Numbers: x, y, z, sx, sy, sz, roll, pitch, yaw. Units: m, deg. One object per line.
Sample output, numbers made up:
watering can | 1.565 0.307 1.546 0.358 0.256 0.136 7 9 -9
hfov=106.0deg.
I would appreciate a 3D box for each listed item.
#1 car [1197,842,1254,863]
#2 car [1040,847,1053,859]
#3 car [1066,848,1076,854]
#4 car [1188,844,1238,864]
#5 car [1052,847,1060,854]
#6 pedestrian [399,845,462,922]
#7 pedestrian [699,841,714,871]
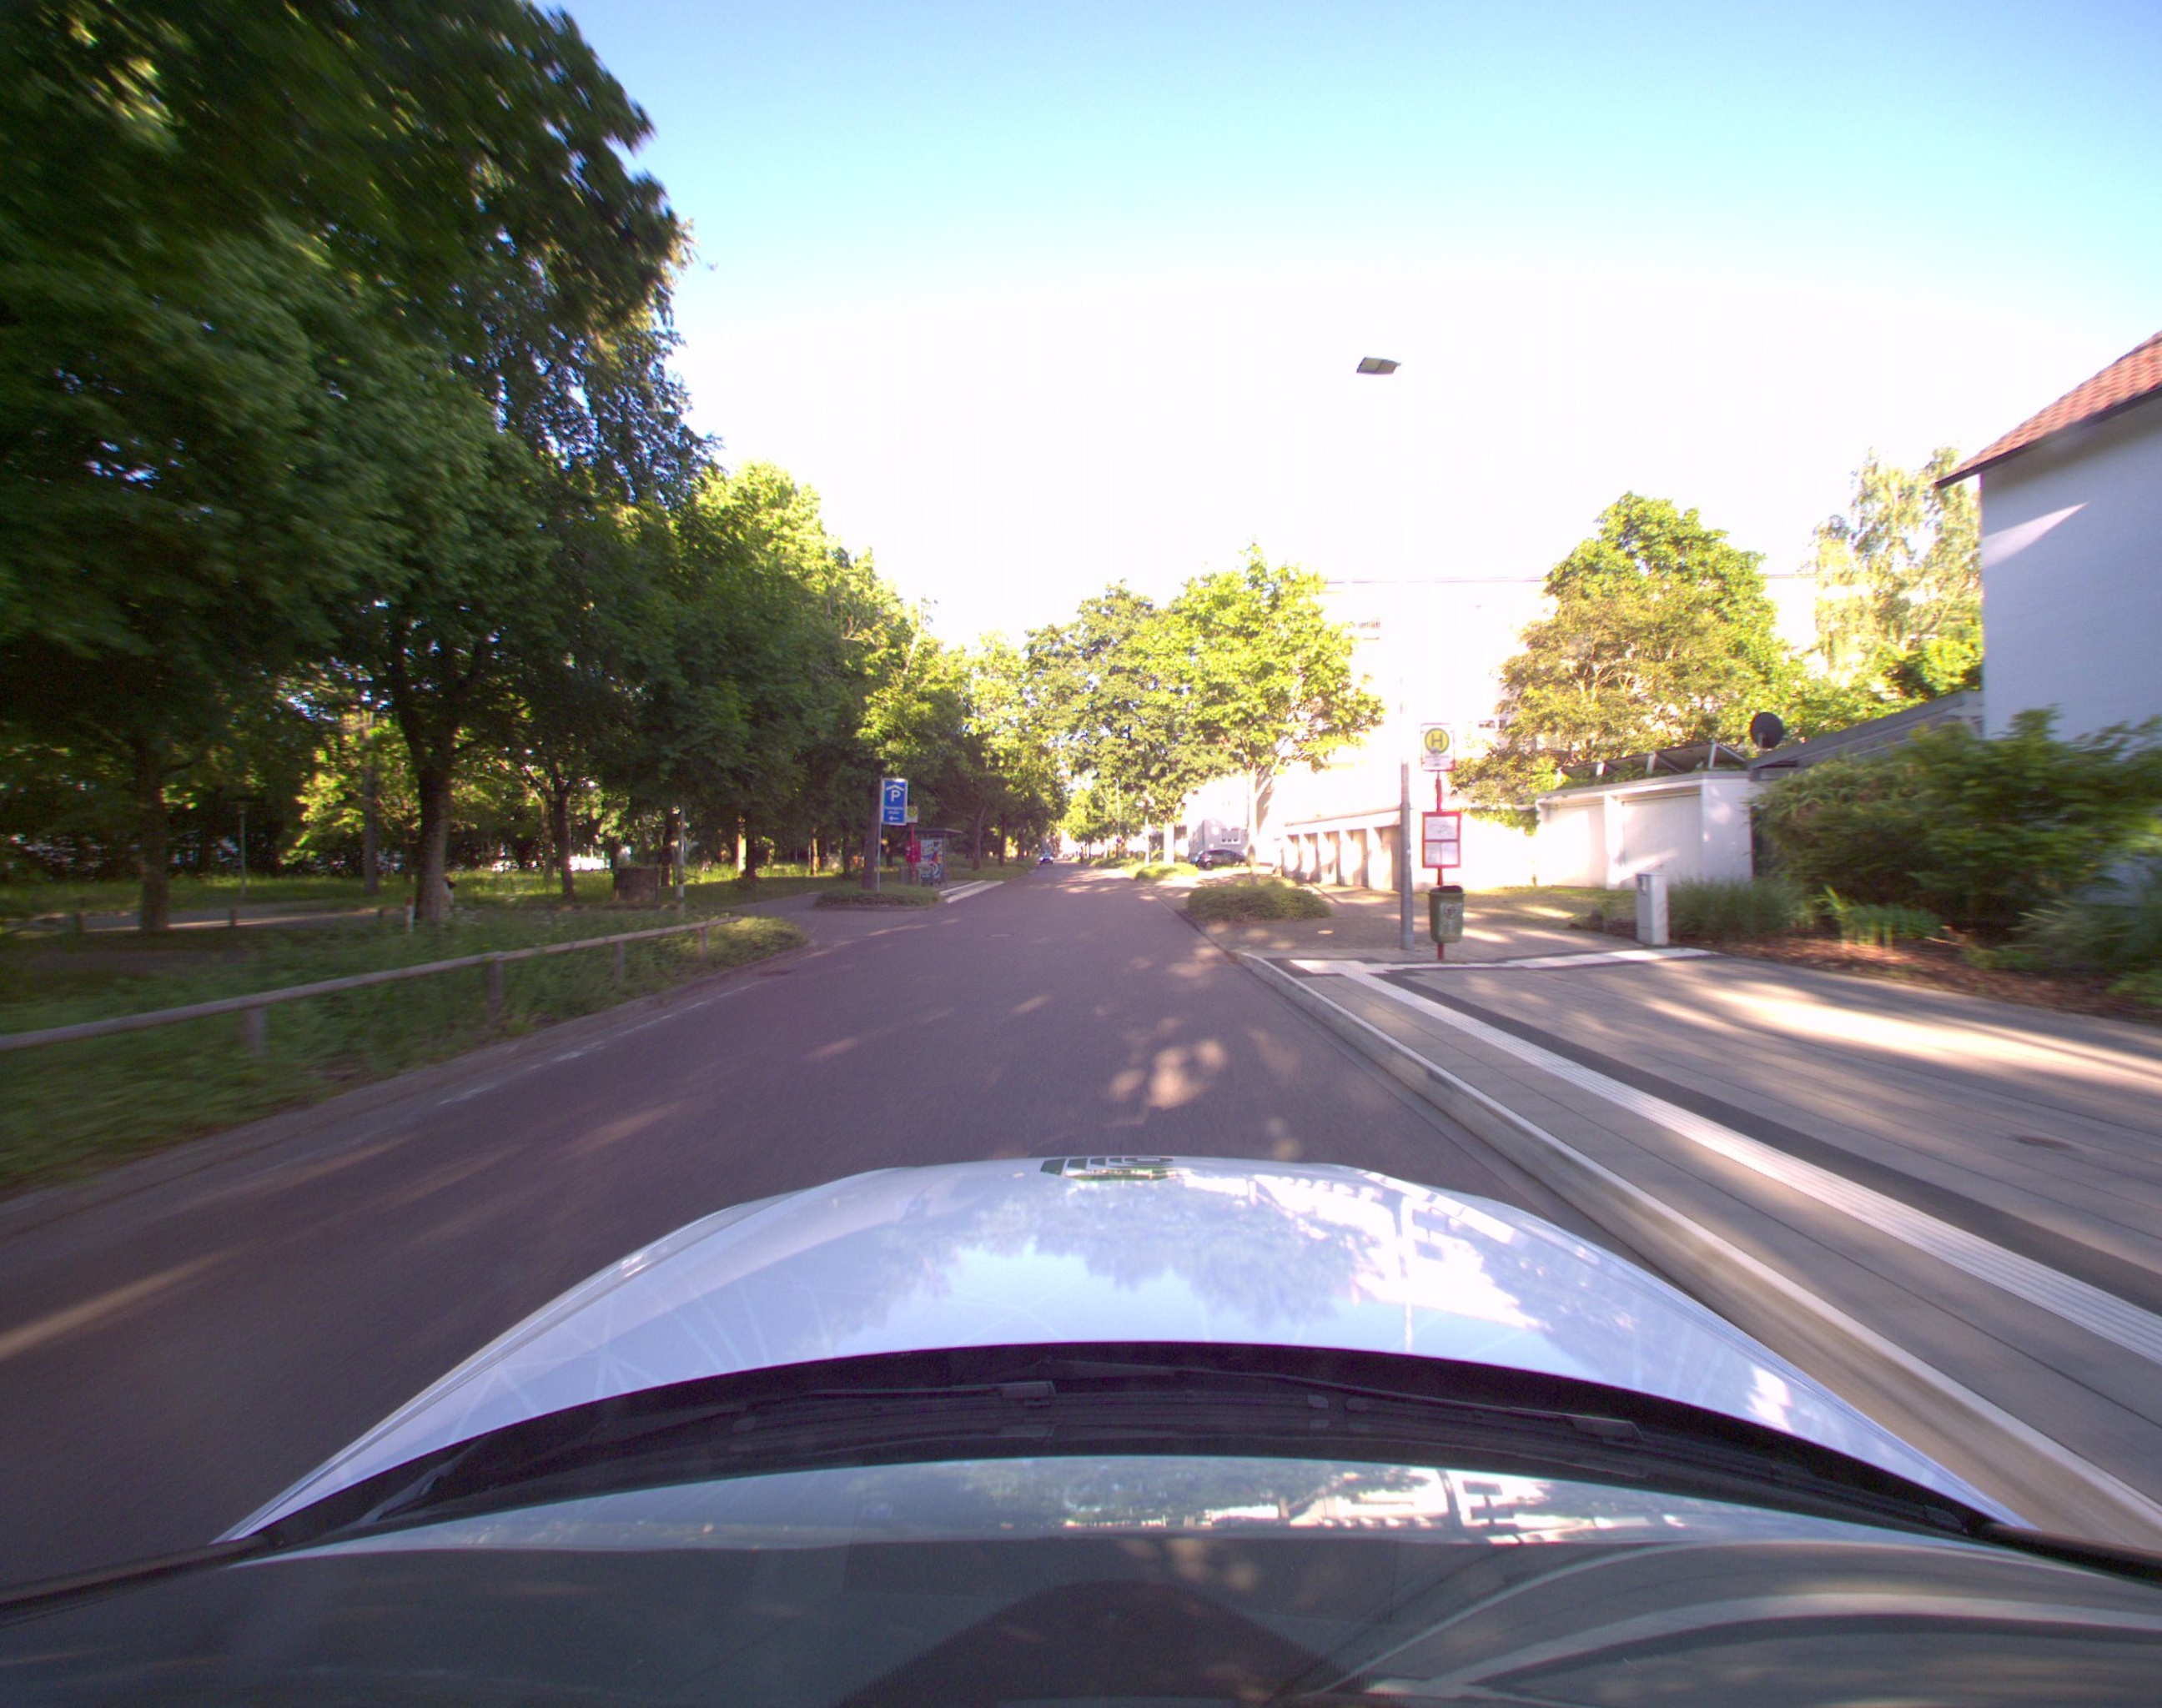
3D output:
car | 11.109 -0.115 62.717 4.031 1.514 1.725 -1 -1 -3
car | -4.905 -0.211 116.278 1.839 1.578 4.332 -3 1 -2
car | -2.443 -0.683 203.914 1.812 1.501 3.986 -2 1 -11
car | 11.380 0.002 70.499 3.979 1.581 1.808 -2 2 -4
car | -7.135 -0.881 232.286 1.809 1.925 3.991 0 1 -7
pedestrian | -15.837 0.710 19.843 0.900 1.821 0.720 -1 1 -2
pedestrian | -25.121 0.150 54.602 0.755 2.013 0.589 0 0 -4
